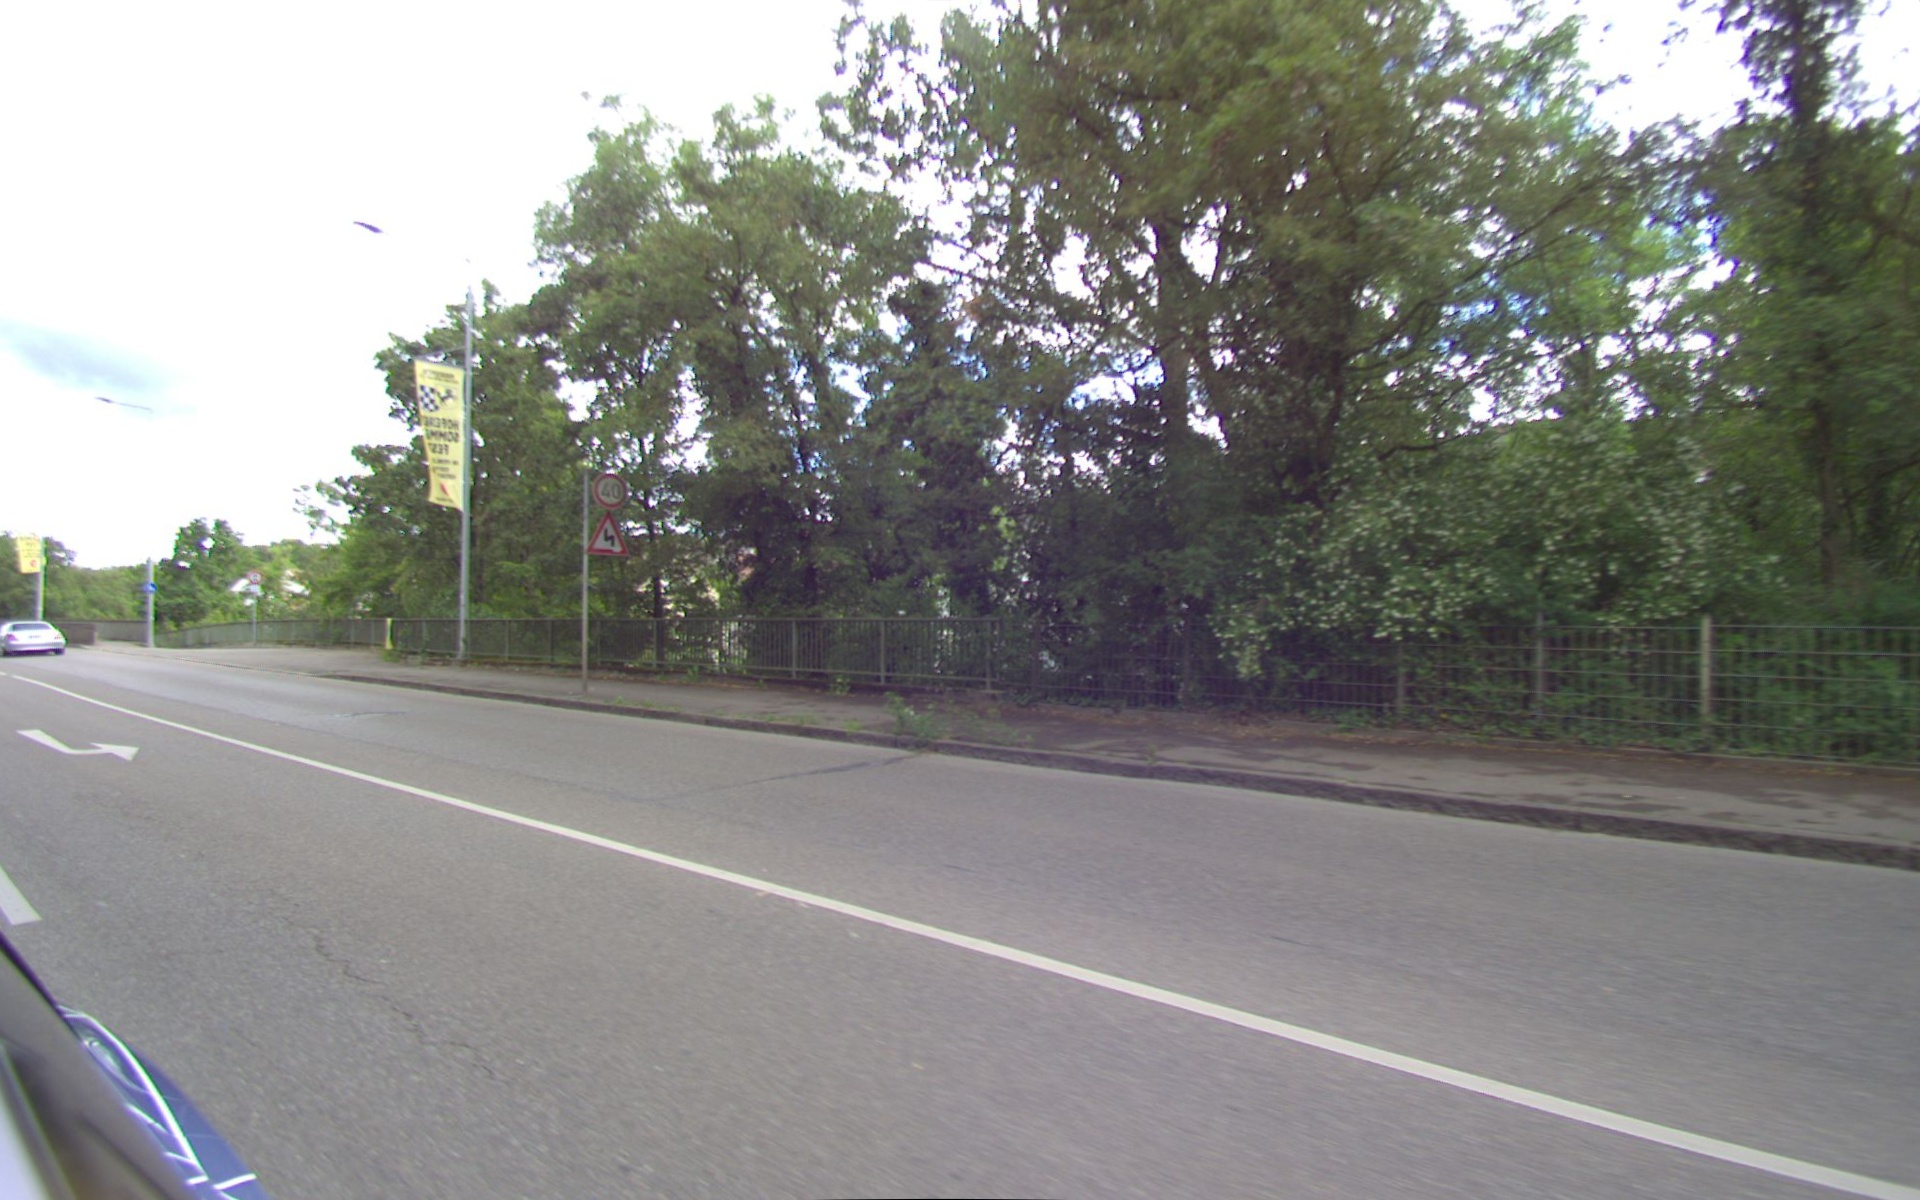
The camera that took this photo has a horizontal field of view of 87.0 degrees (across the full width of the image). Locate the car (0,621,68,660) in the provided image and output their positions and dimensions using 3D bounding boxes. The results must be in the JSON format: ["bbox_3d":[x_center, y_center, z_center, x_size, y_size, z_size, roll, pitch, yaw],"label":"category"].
[{"bbox_3d":[-35.159,1.502,38.126,3.692,1.347,1.741,-1,1,39],"label":"car"}]
